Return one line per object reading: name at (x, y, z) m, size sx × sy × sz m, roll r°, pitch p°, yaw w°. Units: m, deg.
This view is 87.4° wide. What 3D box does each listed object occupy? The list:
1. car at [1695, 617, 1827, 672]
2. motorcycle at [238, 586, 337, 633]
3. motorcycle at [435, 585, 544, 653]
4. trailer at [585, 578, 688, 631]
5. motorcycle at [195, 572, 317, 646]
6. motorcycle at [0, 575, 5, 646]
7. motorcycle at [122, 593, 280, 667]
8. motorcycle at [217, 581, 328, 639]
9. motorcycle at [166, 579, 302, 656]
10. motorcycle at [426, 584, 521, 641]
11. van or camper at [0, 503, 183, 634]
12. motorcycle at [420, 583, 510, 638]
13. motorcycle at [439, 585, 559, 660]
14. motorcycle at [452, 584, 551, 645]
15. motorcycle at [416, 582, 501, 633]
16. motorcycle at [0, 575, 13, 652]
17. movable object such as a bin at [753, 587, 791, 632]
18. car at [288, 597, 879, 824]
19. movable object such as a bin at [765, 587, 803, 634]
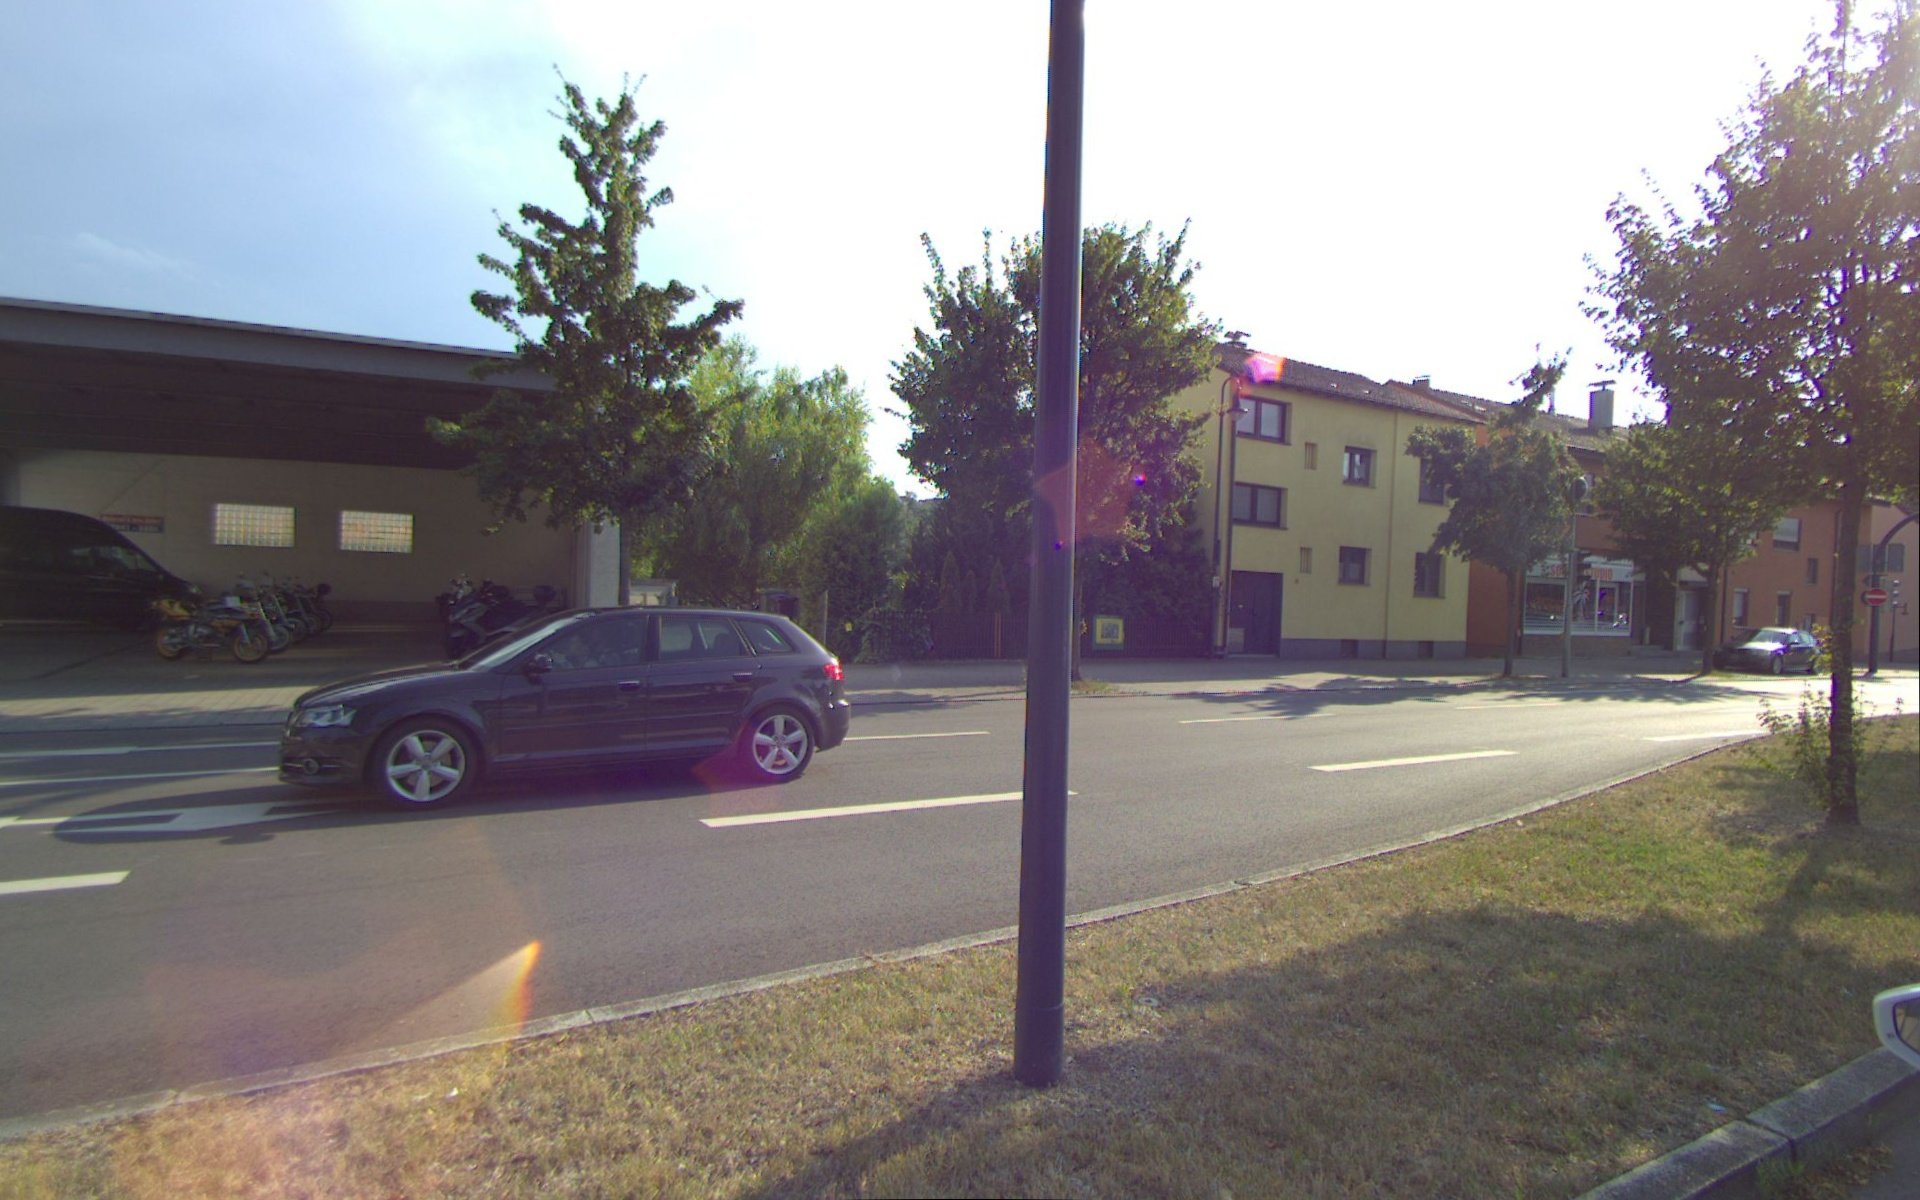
car at (25.937, 1.423, 32.522) m, size 3.949 × 1.573 × 1.836 m, roll 1°, pitch 2°, yaw -27°
motorcycle at (-17.076, 0.234, 25.516) m, size 2.111 × 1.138 × 0.563 m, roll 1°, pitch 0°, yaw 0°
motorcycle at (-9.692, 0.392, 20.781) m, size 0.553 × 1.325 × 2.086 m, roll 1°, pitch 0°, yaw 30°
trailer at (-8.123, 0.063, 25.515) m, size 1.692 × 1.199 × 3.594 m, roll 1°, pitch 1°, yaw -5°
motorcycle at (-14.717, 0.188, 21.013) m, size 2.111 × 1.468 × 0.594 m, roll 1°, pitch 0°, yaw 0°
motorcycle at (-18.644, 0.187, 18.087) m, size 0.637 × 1.329 × 2.007 m, roll 1°, pitch 0°, yaw 23°
motorcycle at (-12.516, 0.490, 16.587) m, size 2.111 × 1.139 × 0.631 m, roll 1°, pitch 0°, yaw 0°
motorcycle at (-15.839, 0.223, 23.168) m, size 2.111 × 1.275 × 0.647 m, roll 1°, pitch 0°, yaw 0°
motorcycle at (-13.553, 0.323, 18.765) m, size 2.111 × 1.347 × 0.563 m, roll 1°, pitch 0°, yaw 0°
motorcycle at (-11.809, 0.308, 24.449) m, size 0.573 × 1.325 × 2.086 m, roll 1°, pitch 0°, yaw 30°
van or camper at (-20.447, -0.662, 22.024) m, size 1.963 × 2.716 × 5.033 m, roll 1°, pitch 0°, yaw 26°
motorcycle at (-12.626, 0.266, 25.675) m, size 0.553 × 1.325 × 2.086 m, roll 1°, pitch 0°, yaw 30°
motorcycle at (-8.635, 0.417, 18.910) m, size 0.553 × 1.325 × 2.112 m, roll 1°, pitch 0°, yaw 30°
motorcycle at (-10.486, 0.335, 23.037) m, size 0.612 × 1.325 × 2.086 m, roll 1°, pitch 0°, yaw 30°
motorcycle at (-13.518, 0.203, 27.158) m, size 0.553 × 1.325 × 2.086 m, roll 1°, pitch 0°, yaw 30°
motorcycle at (-17.248, 0.221, 16.760) m, size 0.637 × 1.329 × 2.007 m, roll 1°, pitch 0°, yaw 23°
movable object such as a bin at (-4.789, 0.234, 25.580) m, size 0.712 × 1.101 × 0.727 m, roll 1°, pitch 3°, yaw -30°
car at (-2.872, 0.737, 8.106) m, size 4.143 × 1.405 × 1.636 m, roll 1°, pitch 0°, yaw -32°
movable object such as a bin at (-4.348, 0.264, 24.809) m, size 0.688 × 1.101 × 0.727 m, roll 1°, pitch 3°, yaw -30°
